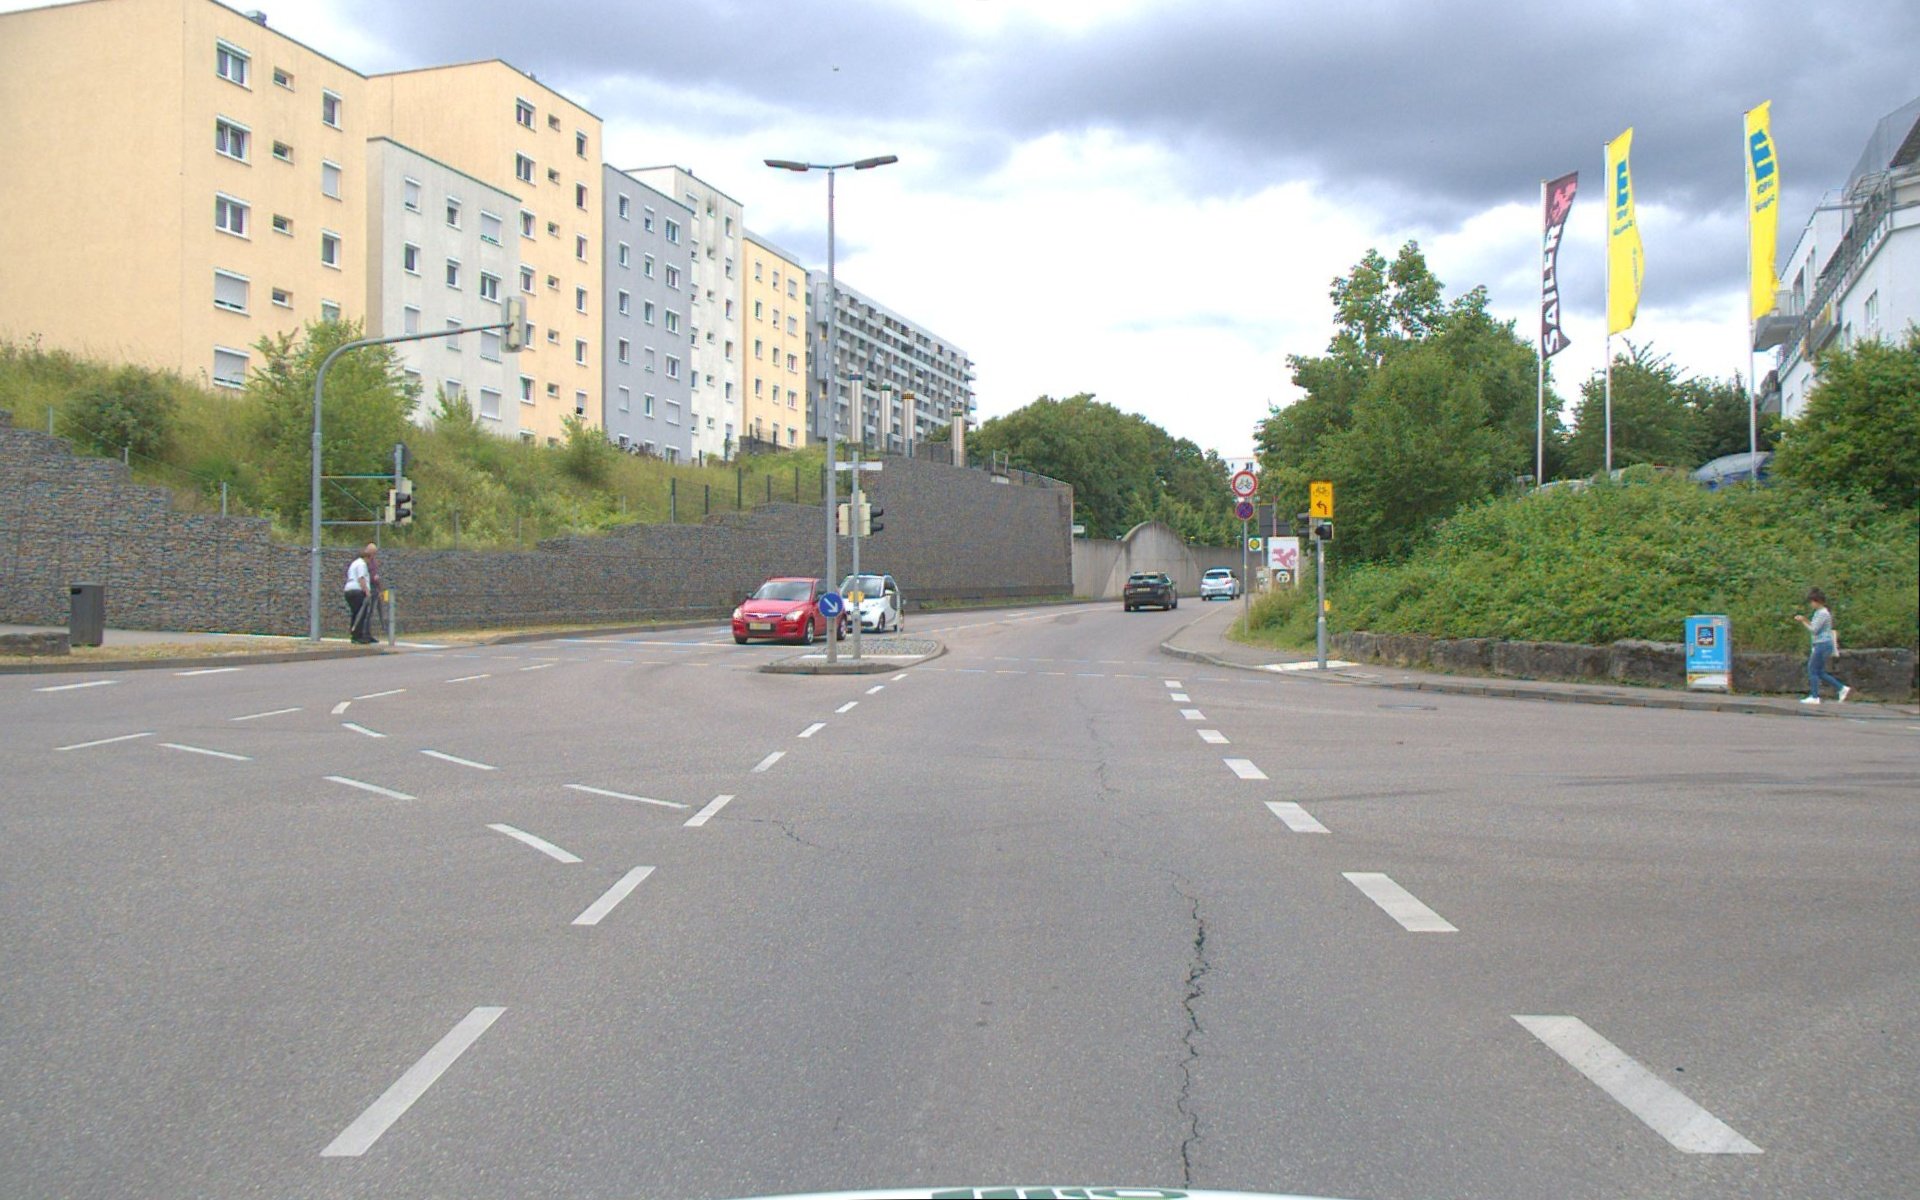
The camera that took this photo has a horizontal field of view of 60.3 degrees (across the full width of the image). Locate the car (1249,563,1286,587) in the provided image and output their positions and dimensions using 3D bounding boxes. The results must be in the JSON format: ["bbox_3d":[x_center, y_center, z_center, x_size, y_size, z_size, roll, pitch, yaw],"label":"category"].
[{"bbox_3d":[20.460,-1.644,109.907,1.828,1.516,4.258,1,1,19],"label":"car"}]

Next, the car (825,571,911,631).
[{"bbox_3d":[-2.459,0.038,44.765,1.510,1.550,2.916,1,0,14],"label":"car"}]

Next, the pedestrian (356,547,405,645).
[{"bbox_3d":[-11.190,-0.072,31.947,0.609,1.859,0.666,1,0,11],"label":"pedestrian"}]

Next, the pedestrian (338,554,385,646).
[{"bbox_3d":[-11.279,0.001,31.180,0.609,1.708,0.665,1,0,-1],"label":"pedestrian"}]

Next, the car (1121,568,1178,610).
[{"bbox_3d":[7.417,-0.403,64.447,1.717,1.550,4.040,1,0,13],"label":"car"}]

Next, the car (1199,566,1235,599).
[{"bbox_3d":[12.762,-0.850,82.104,1.717,1.550,4.040,1,0,9],"label":"car"}]

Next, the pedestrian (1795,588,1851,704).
[{"bbox_3d":[12.426,0.659,23.824,0.609,1.636,0.580,1,0,20],"label":"pedestrian"}]

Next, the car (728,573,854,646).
[{"bbox_3d":[-3.832,0.219,38.128,1.717,1.550,4.096,1,0,12],"label":"car"}]
